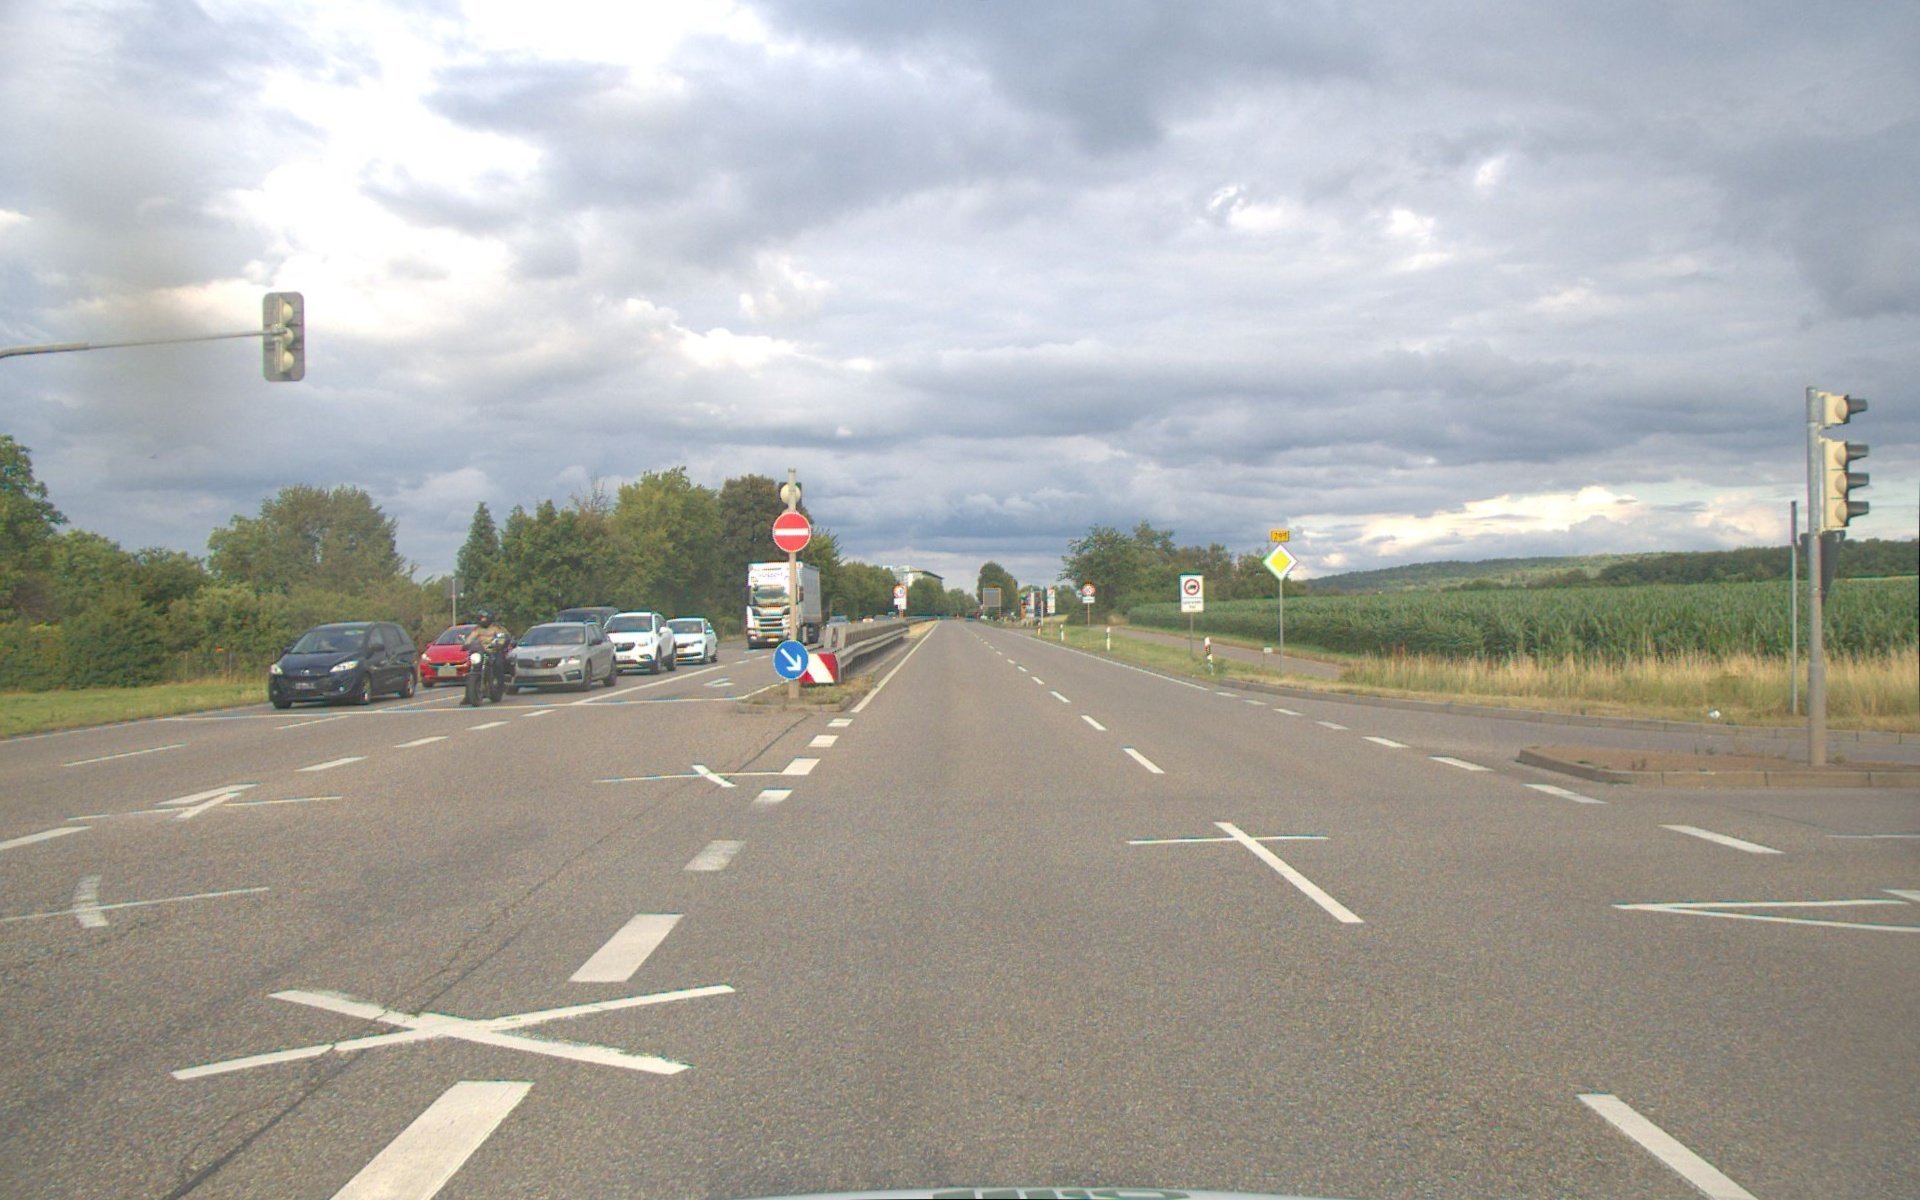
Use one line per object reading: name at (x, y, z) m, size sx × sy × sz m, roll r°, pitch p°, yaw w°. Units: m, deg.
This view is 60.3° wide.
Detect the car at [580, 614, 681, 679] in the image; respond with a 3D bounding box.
car at (-8.843, 1.210, 44.740) m, size 1.869 × 1.638 × 4.404 m, roll -1°, pitch 0°, yaw -1°

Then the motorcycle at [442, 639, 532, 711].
motorcycle at (-8.614, 1.339, 30.229) m, size 0.897 × 1.224 × 2.478 m, roll -2°, pitch -1°, yaw 0°

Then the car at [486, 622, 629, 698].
car at (-8.587, 1.246, 35.784) m, size 1.869 × 1.453 × 5.151 m, roll -1°, pitch 0°, yaw -1°

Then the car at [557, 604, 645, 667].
car at (-12.600, 1.244, 58.322) m, size 1.953 × 2.049 × 4.946 m, roll -2°, pitch -1°, yaw 0°

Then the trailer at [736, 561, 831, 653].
trailer at (-8.900, 0.409, 85.391) m, size 3.394 × 4.223 × 13.913 m, roll -2°, pitch -1°, yaw -1°

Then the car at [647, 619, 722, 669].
car at (-8.816, 1.389, 53.239) m, size 1.752 × 1.470 × 4.159 m, roll -1°, pitch 0°, yaw -1°

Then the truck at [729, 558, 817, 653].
truck at (-8.842, 0.305, 78.983) m, size 3.404 × 4.223 × 6.048 m, roll -2°, pitch -1°, yaw -1°

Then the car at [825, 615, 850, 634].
car at (-9.963, 1.983, 134.803) m, size 1.752 × 1.410 × 4.159 m, roll -1°, pitch 0°, yaw -1°

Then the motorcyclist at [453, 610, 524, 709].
motorcyclist at (-8.612, 1.069, 30.233) m, size 0.897 × 1.739 × 1.276 m, roll -2°, pitch -1°, yaw 0°

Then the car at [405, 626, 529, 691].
car at (-12.277, 1.424, 41.437) m, size 1.869 × 1.491 × 4.183 m, roll -1°, pitch 0°, yaw -1°

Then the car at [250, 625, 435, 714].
car at (-12.188, 1.320, 33.027) m, size 1.869 × 1.562 × 4.937 m, roll -1°, pitch 0°, yaw -1°
